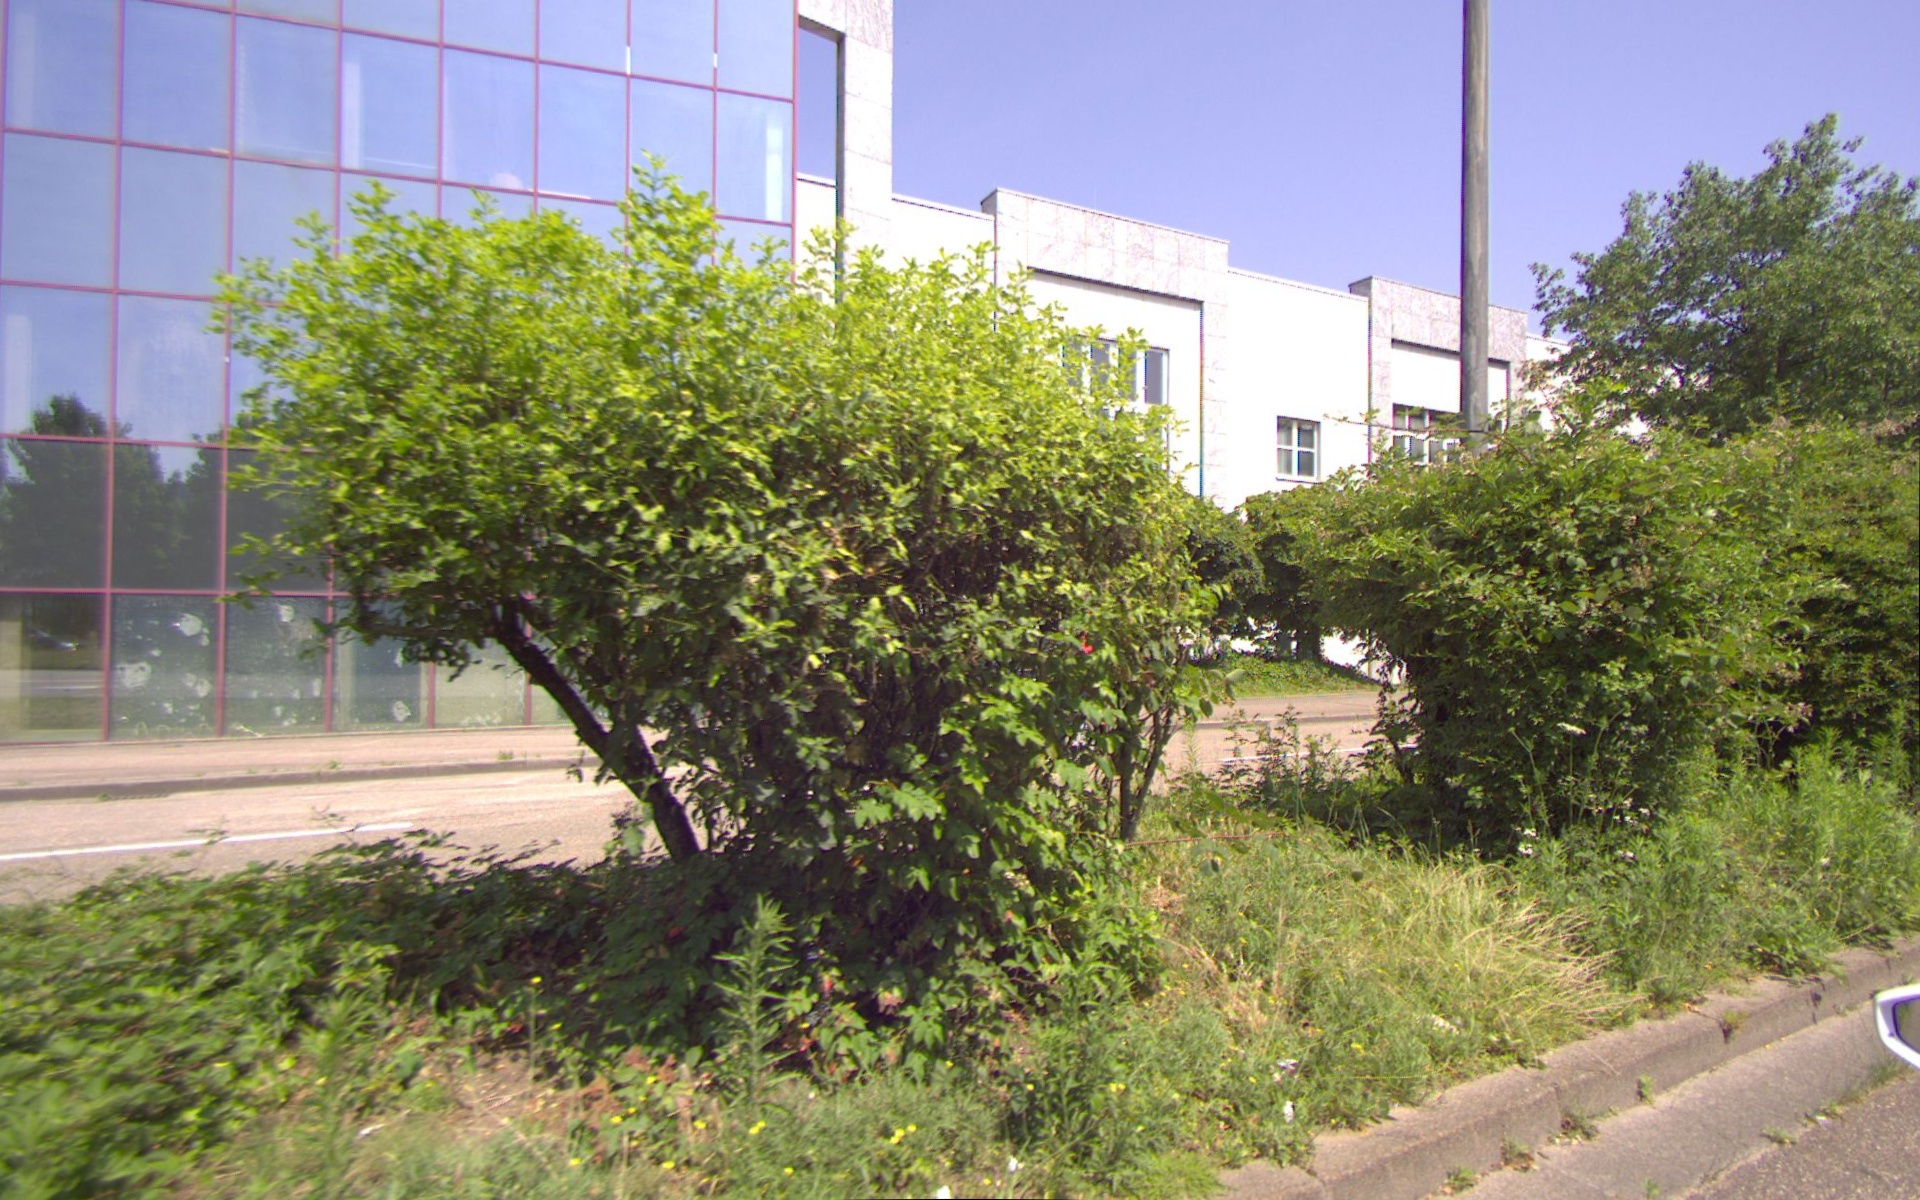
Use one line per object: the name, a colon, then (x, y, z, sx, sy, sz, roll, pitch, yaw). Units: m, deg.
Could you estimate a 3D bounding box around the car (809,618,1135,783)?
car: (0.151, 1.084, 11.746, 3.429, 1.659, 1.724, 1, -3, -29)
